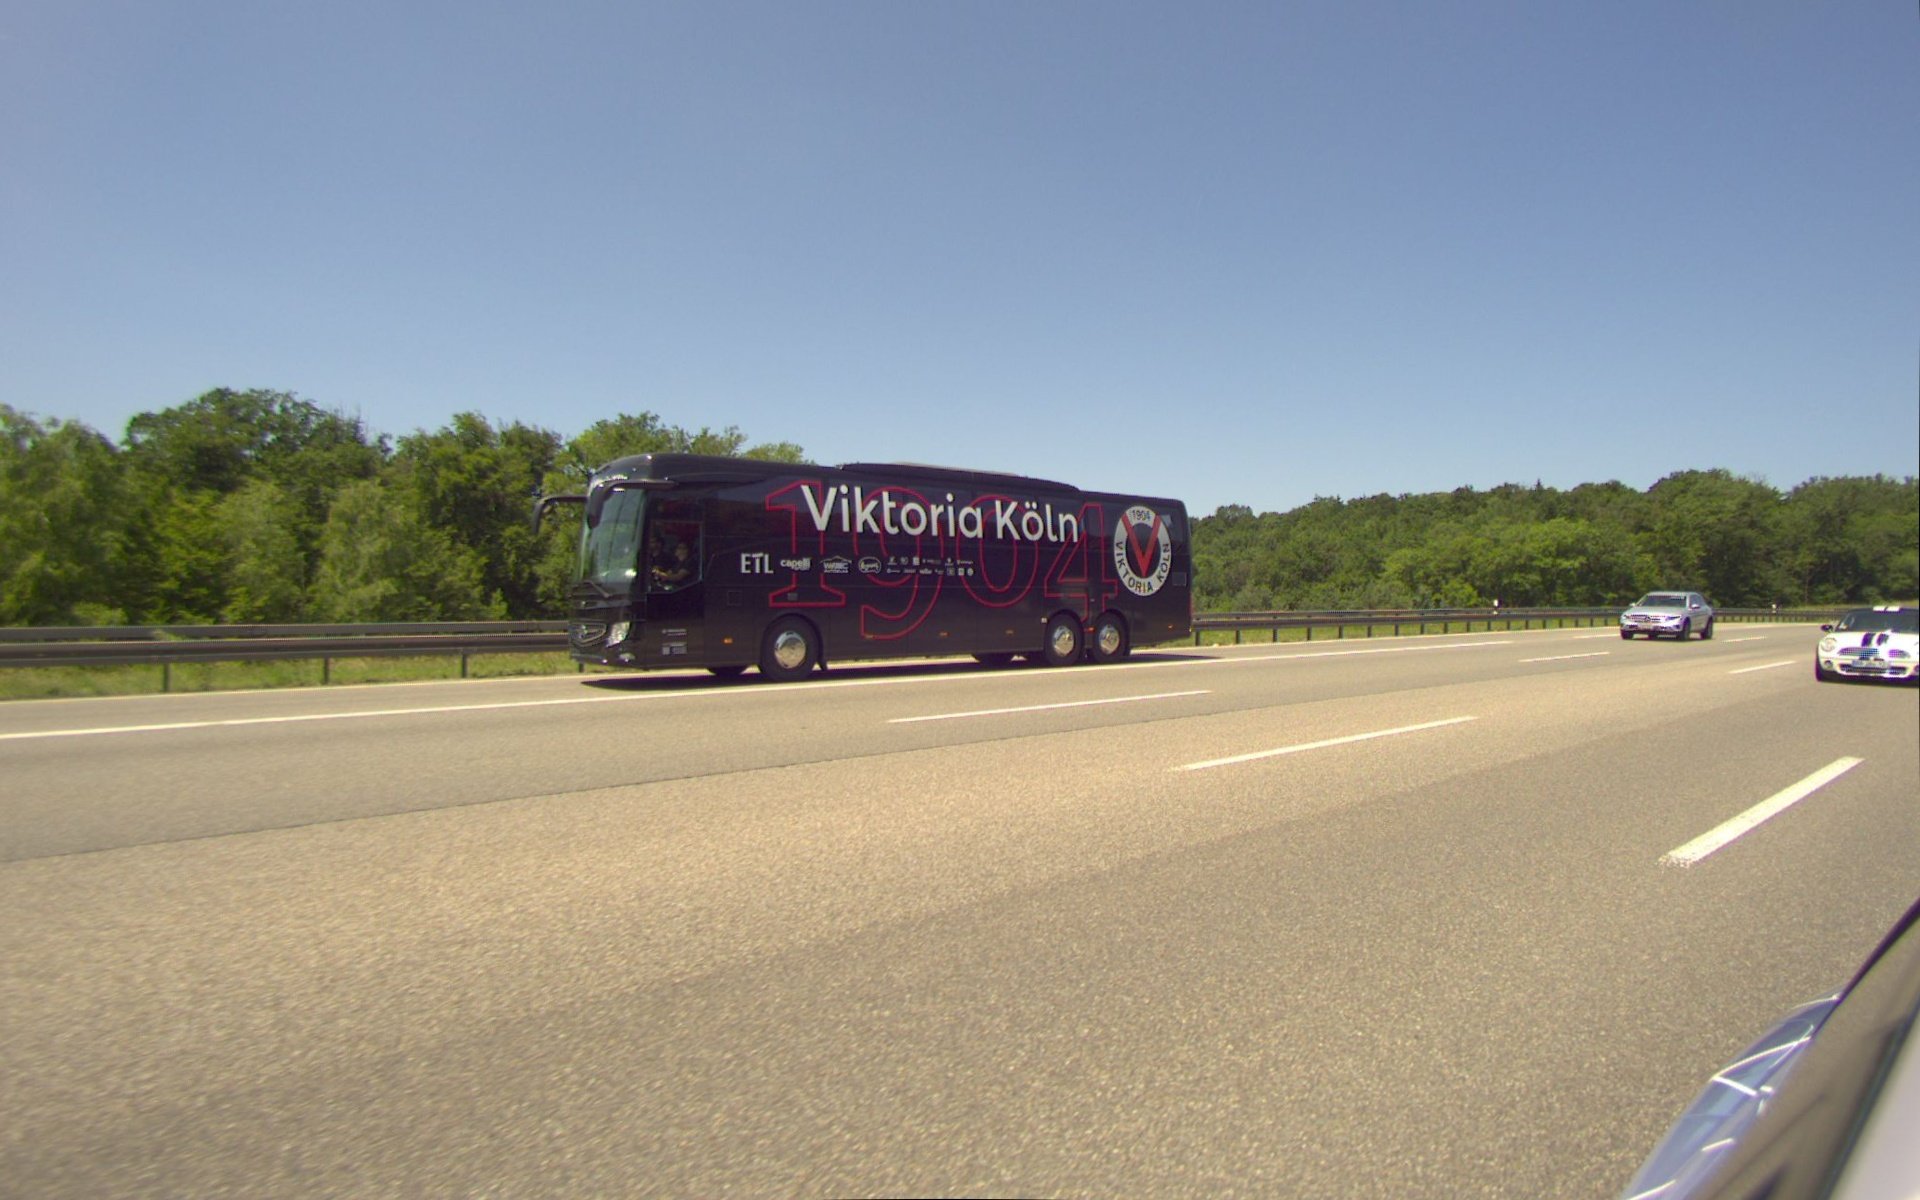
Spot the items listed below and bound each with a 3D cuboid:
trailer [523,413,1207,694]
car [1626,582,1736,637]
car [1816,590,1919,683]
[{"bbox_3d":[-0.726,-0.671,18.744,13.298,3.734,2.864,0,0,-39],"label":"trailer"},{"bbox_3d":[24.897,0.342,34.876,5.144,1.753,1.805,1,0,-39],"label":"car"},{"bbox_3d":[17.399,0.617,18.712,3.930,1.572,1.844,0,0,-41],"label":"car"}]
